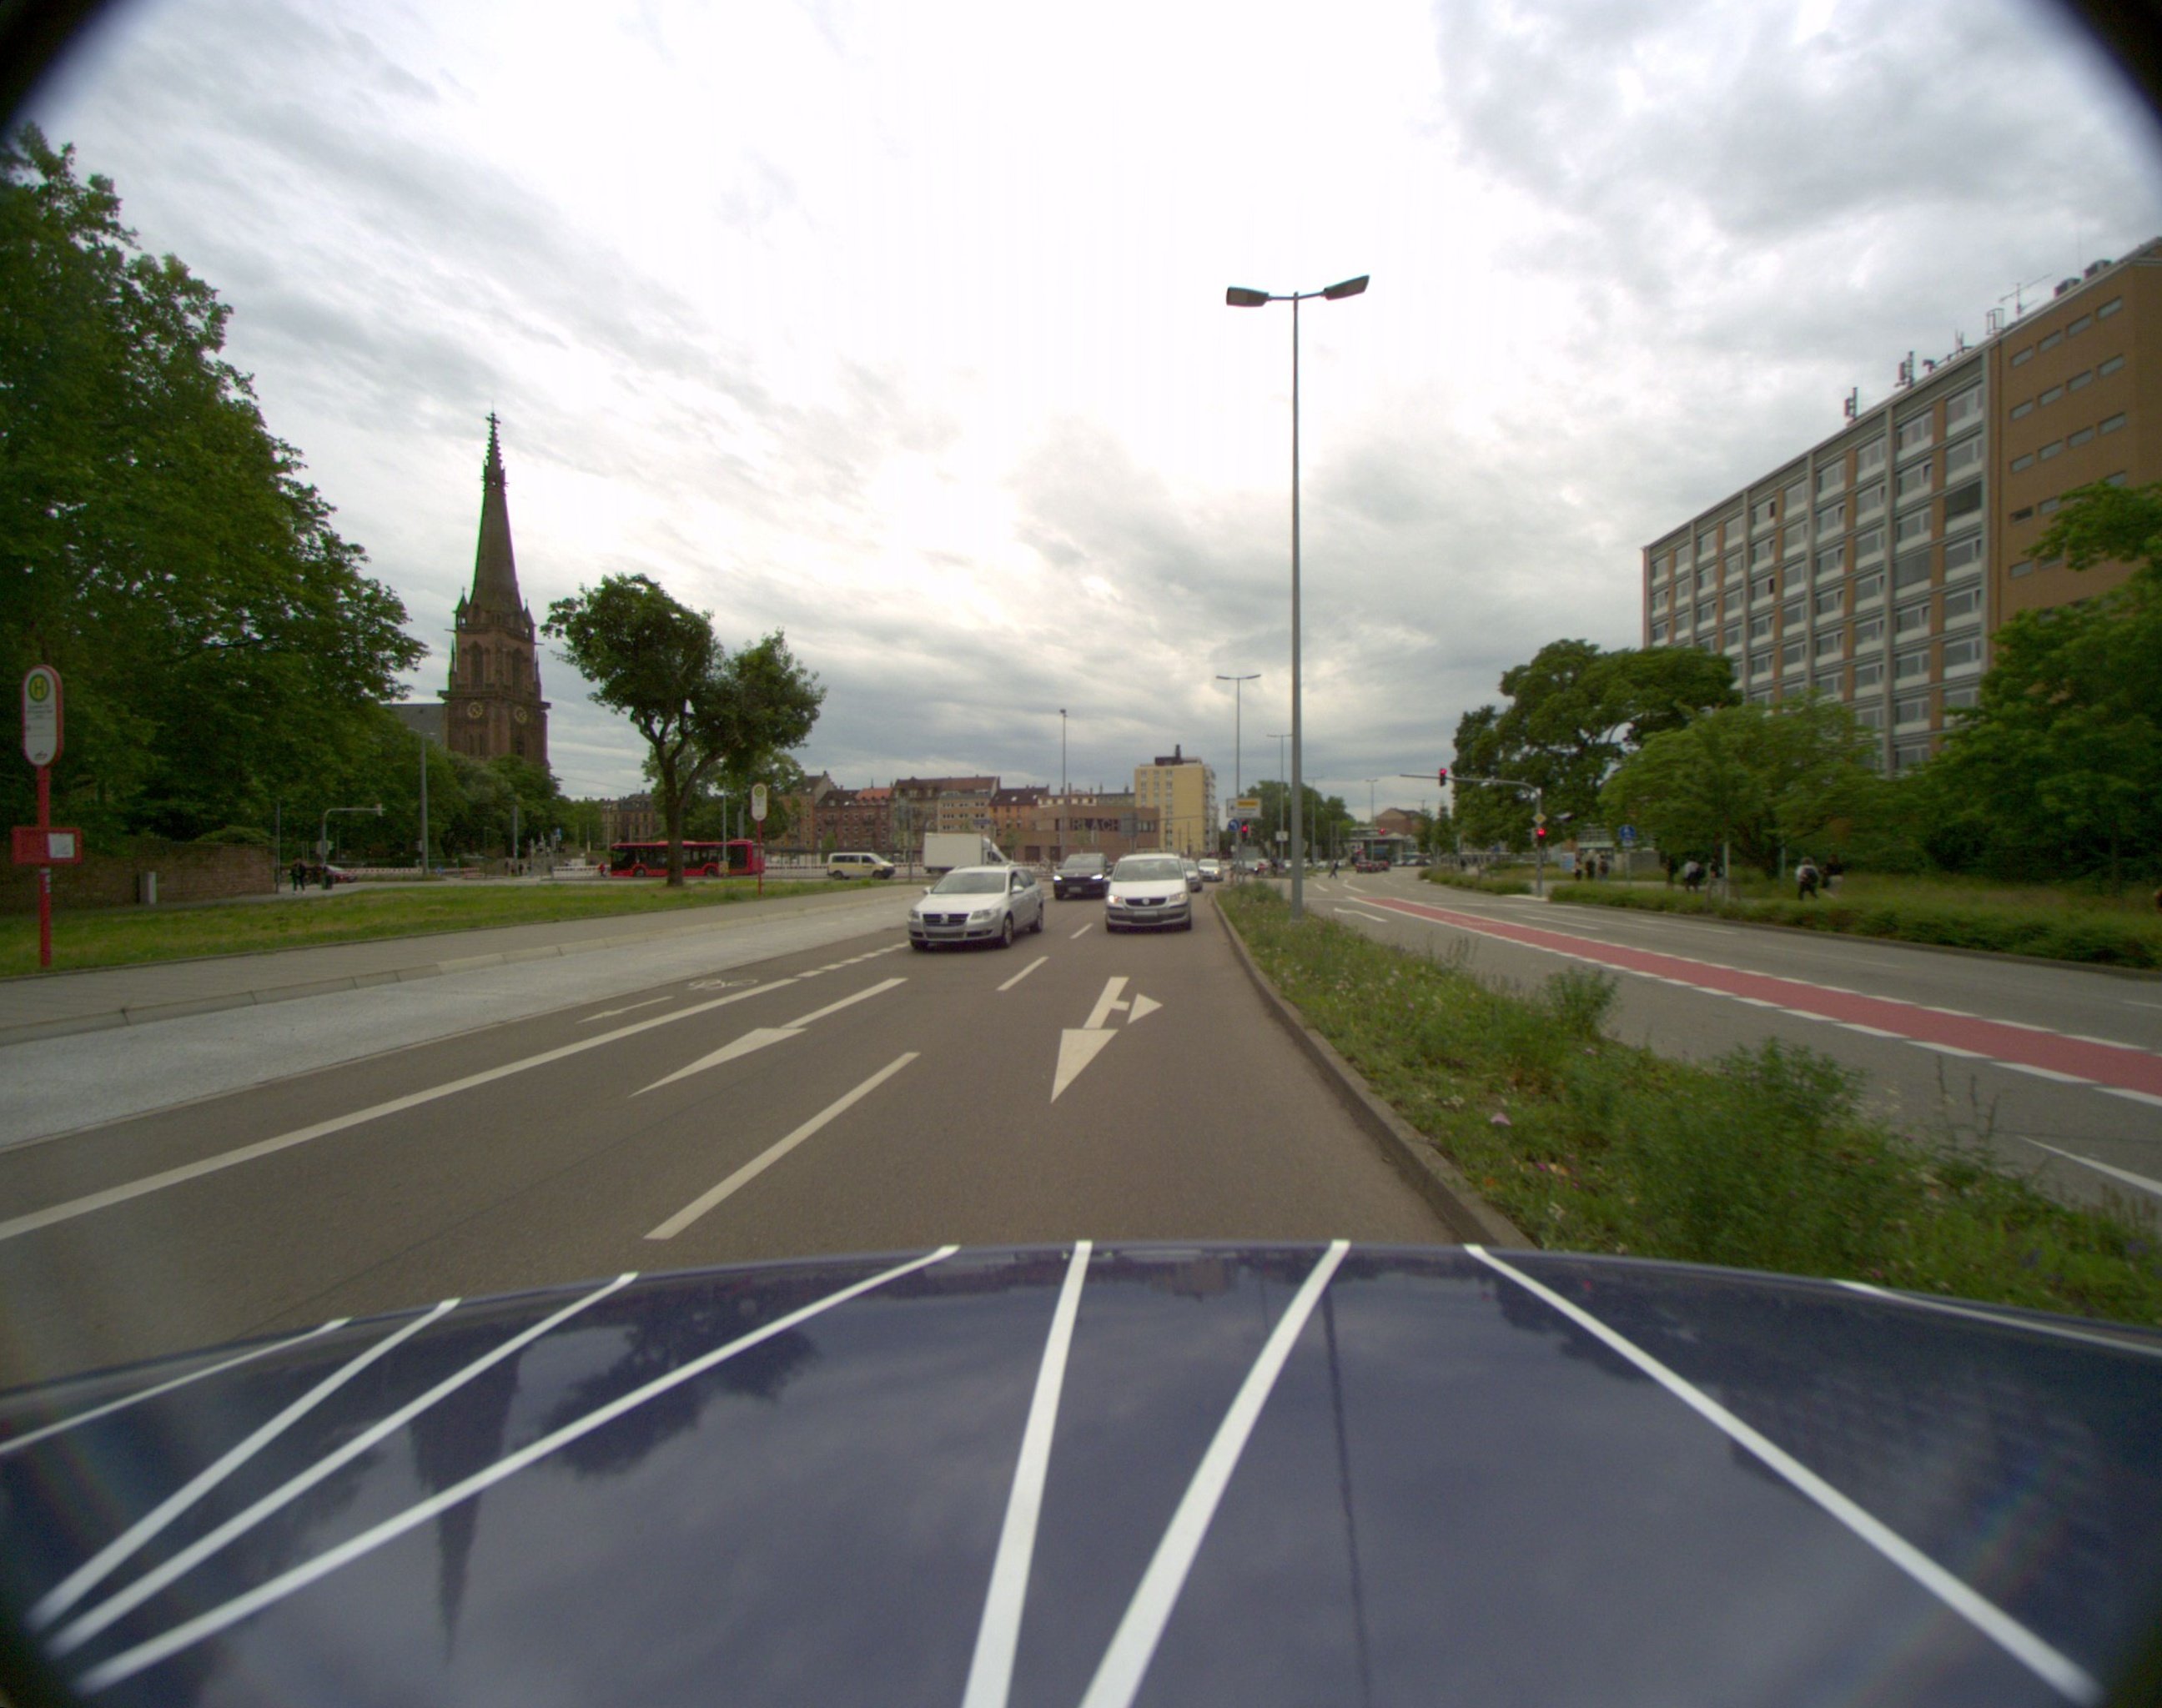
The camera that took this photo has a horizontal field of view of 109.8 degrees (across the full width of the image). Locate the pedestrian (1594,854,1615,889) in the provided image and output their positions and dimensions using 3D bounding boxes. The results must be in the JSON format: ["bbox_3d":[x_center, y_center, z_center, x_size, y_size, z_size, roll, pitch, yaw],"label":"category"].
[{"bbox_3d":[27.158,0.890,39.409,0.638,1.790,0.762,0,0,11],"label":"pedestrian"}]

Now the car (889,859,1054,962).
[{"bbox_3d":[-1.907,0.960,14.861,1.828,1.542,4.529,-2,1,10],"label":"car"}]

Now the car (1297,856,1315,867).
[{"bbox_3d":[36.570,1.179,123.476,1.834,1.753,3.920,1,0,33],"label":"car"}]

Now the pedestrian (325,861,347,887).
[{"bbox_3d":[-47.339,1.287,48.276,0.871,1.628,0.693,0,0,21],"label":"pedestrian"}]

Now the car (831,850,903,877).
[{"bbox_3d":[-15.807,0.701,56.292,4.709,1.909,1.920,0,3,4],"label":"car"}]

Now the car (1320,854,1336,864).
[{"bbox_3d":[43.355,0.846,133.133,1.801,1.586,3.767,1,0,32],"label":"car"}]

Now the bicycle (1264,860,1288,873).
[{"bbox_3d":[17.971,1.144,70.007,2.003,1.136,0.807,1,0,9],"label":"bicycle"}]

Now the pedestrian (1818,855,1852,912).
[{"bbox_3d":[23.247,0.895,23.450,0.579,1.702,0.763,2,0,34],"label":"pedestrian"}]

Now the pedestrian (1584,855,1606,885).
[{"bbox_3d":[29.174,0.882,43.117,0.708,1.661,0.890,-1,0,11],"label":"pedestrian"}]

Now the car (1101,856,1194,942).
[{"bbox_3d":[1.482,0.855,16.423,1.733,1.593,4.107,-1,0,6],"label":"car"}]

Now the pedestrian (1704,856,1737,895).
[{"bbox_3d":[24.327,0.814,28.930,0.636,1.471,0.762,1,0,11],"label":"pedestrian"}]

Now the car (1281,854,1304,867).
[{"bbox_3d":[31.506,0.972,113.332,1.994,1.871,4.009,1,0,36],"label":"car"}]

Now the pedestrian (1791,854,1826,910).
[{"bbox_3d":[22.501,0.867,23.503,0.622,1.685,0.748,2,0,35],"label":"pedestrian"}]

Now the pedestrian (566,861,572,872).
[{"bbox_3d":[-55.242,1.353,81.908,0.373,1.189,0.372,1,0,7],"label":"pedestrian"}]

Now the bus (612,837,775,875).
[{"bbox_3d":[-31.837,0.170,62.599,12.083,2.891,2.939,-1,0,4],"label":"bus"}]

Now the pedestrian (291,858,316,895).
[{"bbox_3d":[-37.127,1.074,36.287,0.759,1.725,0.820,1,0,-42],"label":"pedestrian"}]

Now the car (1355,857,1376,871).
[{"bbox_3d":[35.849,1.220,95.620,1.812,1.657,3.956,1,1,30],"label":"car"}]

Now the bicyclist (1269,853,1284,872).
[{"bbox_3d":[18.007,0.801,69.987,1.190,1.725,0.807,1,0,9],"label":"bicyclist"}]

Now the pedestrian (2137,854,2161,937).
[{"bbox_3d":[21.025,0.804,14.607,0.575,1.599,0.617,1,0,23],"label":"pedestrian"}]

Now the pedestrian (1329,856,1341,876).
[{"bbox_3d":[22.020,1.042,65.945,0.777,1.657,0.707,1,0,-1],"label":"pedestrian"}]

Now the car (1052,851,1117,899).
[{"bbox_3d":[0.226,0.737,28.770,1.911,1.615,4.493,-2,0,6],"label":"car"}]

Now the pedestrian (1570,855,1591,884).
[{"bbox_3d":[28.423,0.875,43.232,0.708,1.661,0.944,-1,0,11],"label":"pedestrian"}]

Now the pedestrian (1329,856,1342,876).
[{"bbox_3d":[22.880,1.080,68.363,0.768,1.794,0.739,1,0,-14],"label":"pedestrian"}]

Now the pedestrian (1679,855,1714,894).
[{"bbox_3d":[23.511,0.771,29.043,0.730,1.471,0.814,1,0,11],"label":"pedestrian"}]

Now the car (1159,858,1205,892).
[{"bbox_3d":[4.631,0.890,34.370,1.725,1.406,4.250,-1,0,12],"label":"car"}]

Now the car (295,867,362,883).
[{"bbox_3d":[-57.976,1.618,58.611,3.536,1.149,1.446,1,0,-5],"label":"car"}]

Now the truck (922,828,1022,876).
[{"bbox_3d":[-7.945,-0.181,55.861,6.848,3.392,2.560,-1,2,2],"label":"truck"}]

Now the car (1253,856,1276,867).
[{"bbox_3d":[25.378,1.029,105.176,1.815,1.466,4.041,1,0,33],"label":"car"}]

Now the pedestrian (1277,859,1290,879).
[{"bbox_3d":[17.786,1.323,66.753,0.917,1.794,0.541,1,0,24],"label":"pedestrian"}]

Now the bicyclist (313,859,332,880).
[{"bbox_3d":[-56.056,1.154,56.142,0.782,1.512,0.601,1,0,-8],"label":"bicyclist"}]

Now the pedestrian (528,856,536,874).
[{"bbox_3d":[-52.989,1.077,73.335,0.373,1.695,0.372,1,0,7],"label":"pedestrian"}]

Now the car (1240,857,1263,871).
[{"bbox_3d":[17.442,0.979,77.794,1.682,1.401,3.367,1,0,1],"label":"car"}]

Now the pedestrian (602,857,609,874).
[{"bbox_3d":[-40.863,0.998,65.286,0.371,1.458,0.374,1,0,7],"label":"pedestrian"}]

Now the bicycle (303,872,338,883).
[{"bbox_3d":[-56.197,1.743,56.128,1.821,0.815,0.601,1,0,-8],"label":"bicycle"}]

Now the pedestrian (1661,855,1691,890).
[{"bbox_3d":[27.282,0.850,34.849,0.635,1.603,0.829,-1,0,-14],"label":"pedestrian"}]

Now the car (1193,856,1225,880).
[{"bbox_3d":[8.544,0.922,50.518,1.784,1.454,3.875,-1,0,14],"label":"car"}]
